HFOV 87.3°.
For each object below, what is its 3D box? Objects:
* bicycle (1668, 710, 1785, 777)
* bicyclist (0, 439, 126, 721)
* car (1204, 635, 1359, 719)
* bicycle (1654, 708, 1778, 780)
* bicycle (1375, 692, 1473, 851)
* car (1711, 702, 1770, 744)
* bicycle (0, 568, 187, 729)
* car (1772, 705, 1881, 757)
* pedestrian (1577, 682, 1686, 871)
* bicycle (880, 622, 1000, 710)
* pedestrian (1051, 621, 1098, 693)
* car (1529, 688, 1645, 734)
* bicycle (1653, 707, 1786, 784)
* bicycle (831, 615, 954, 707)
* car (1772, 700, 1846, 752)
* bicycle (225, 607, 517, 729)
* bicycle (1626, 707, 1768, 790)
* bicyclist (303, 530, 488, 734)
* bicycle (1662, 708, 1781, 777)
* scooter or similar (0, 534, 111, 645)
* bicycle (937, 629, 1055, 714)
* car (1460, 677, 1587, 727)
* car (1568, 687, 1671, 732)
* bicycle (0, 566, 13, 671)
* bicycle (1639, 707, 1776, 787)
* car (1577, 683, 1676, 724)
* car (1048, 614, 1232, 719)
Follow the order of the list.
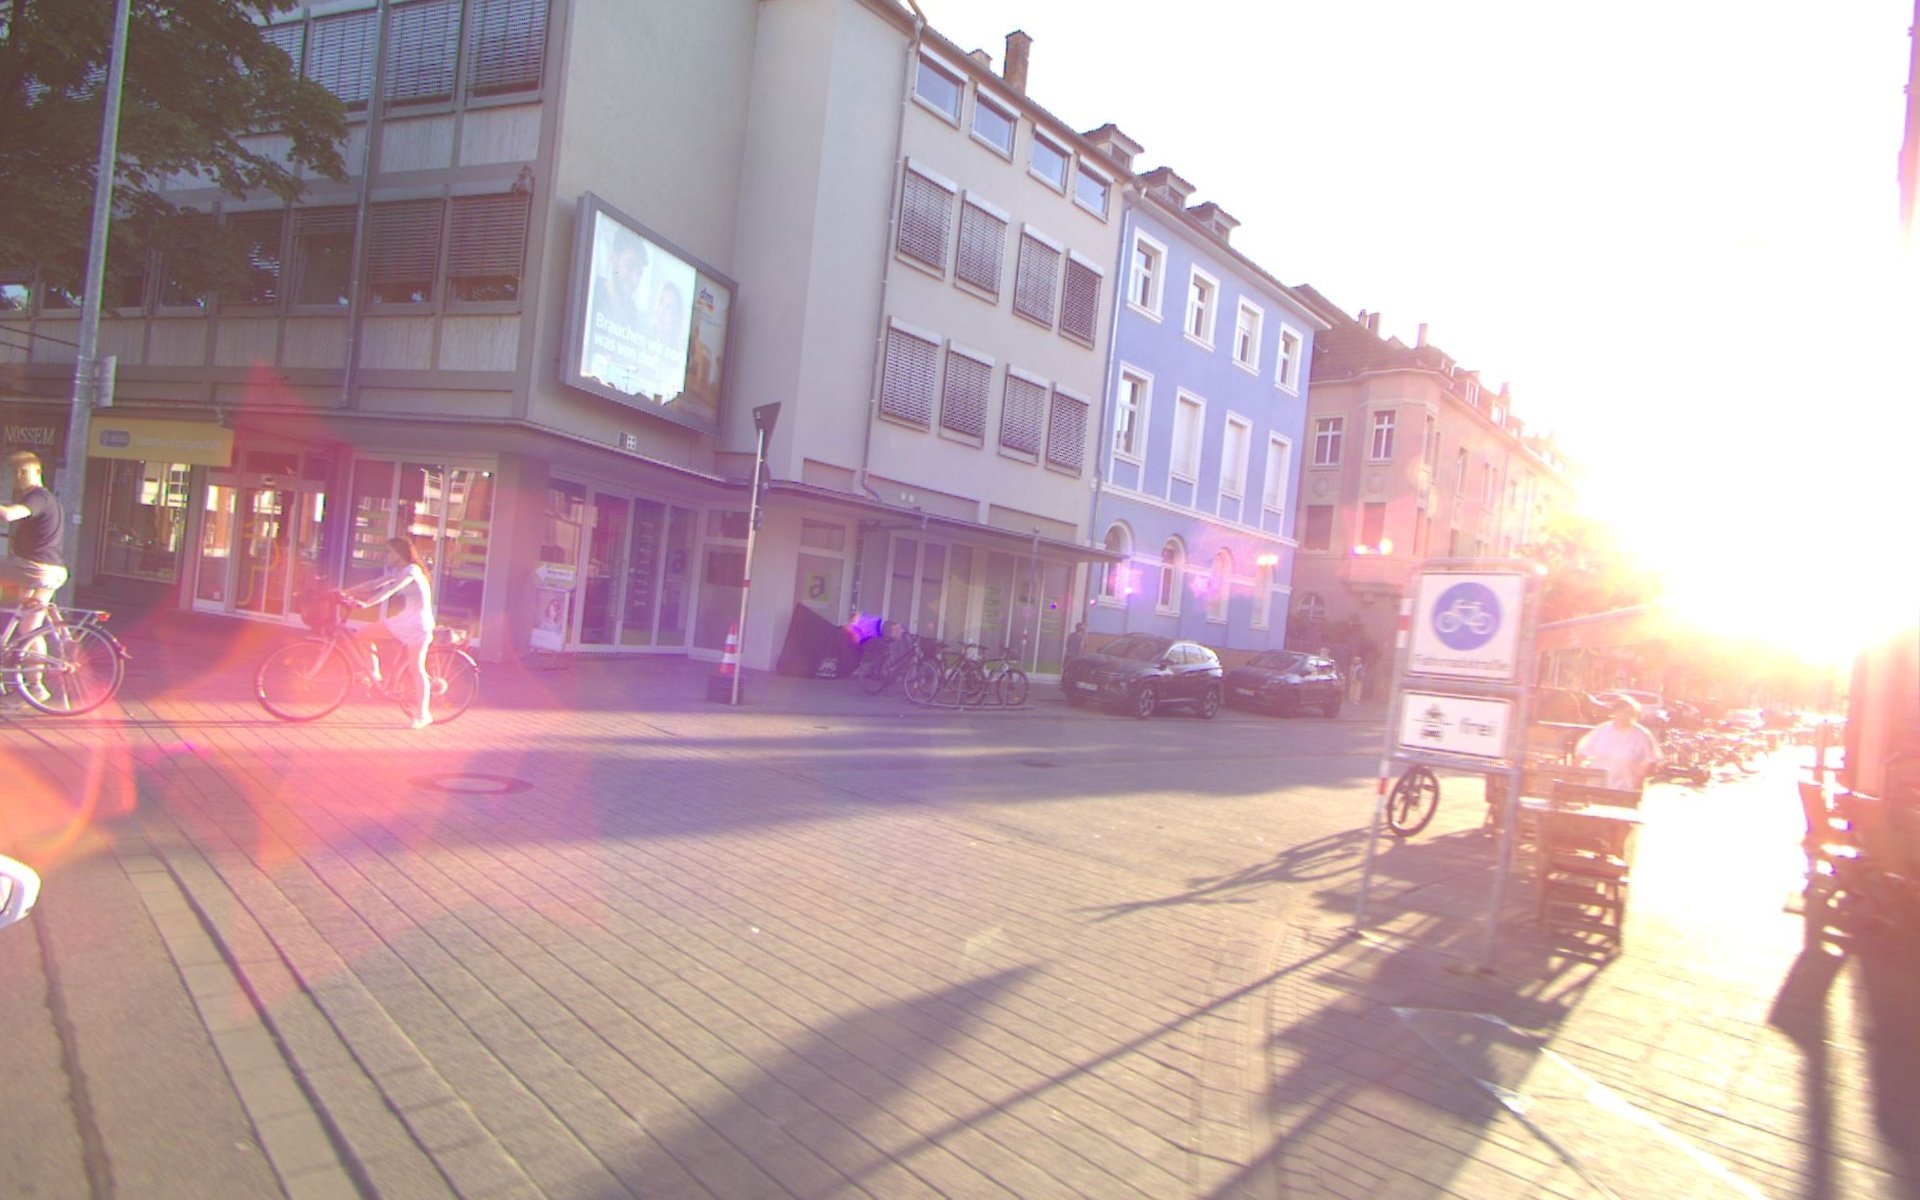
[{"bbox_3d":[18.628,3.457,24.471,2.085,1.235,0.700,7,1,44],"label":"bicycle"},{"bbox_3d":[-7.065,-0.181,7.347,1.098,1.941,0.838,6,0,-16],"label":"bicyclist"},{"bbox_3d":[8.519,2.056,26.478,4.406,1.771,1.870,7,0,-44],"label":"car"},{"bbox_3d":[17.252,3.256,22.992,2.085,1.235,0.700,7,1,44],"label":"bicycle"},{"bbox_3d":[4.635,1.637,10.117,0.691,1.303,2.112,6,-1,24],"label":"bicycle"},{"bbox_3d":[45.866,7.235,59.100,3.974,2.036,1.977,9,-3,-42],"label":"car"},{"bbox_3d":[-7.104,0.296,7.364,2.046,1.032,0.838,7,0,-17],"label":"bicycle"},{"bbox_3d":[44.366,6.693,51.571,1.988,2.037,3.953,8,-3,-43],"label":"car"},{"bbox_3d":[6.023,1.554,9.054,0.563,1.560,0.573,6,0,20],"label":"pedestrian"},{"bbox_3d":[-0.371,1.137,17.594,2.085,1.235,0.700,7,1,44],"label":"bicycle"},{"bbox_3d":[2.631,1.301,23.099,0.668,1.545,0.596,8,1,42],"label":"pedestrian"},{"bbox_3d":[27.757,4.885,44.687,3.926,1.404,2.000,6,-1,21],"label":"car"},{"bbox_3d":[16.246,3.093,21.557,2.085,1.235,0.700,7,1,44],"label":"bicycle"},{"bbox_3d":[-1.153,1.006,16.816,2.085,1.235,0.700,7,1,44],"label":"bicycle"},{"bbox_3d":[39.485,5.879,46.771,4.230,2.036,1.977,9,-3,-42],"label":"car"},{"bbox_3d":[-5.068,0.622,8.761,0.830,0.891,2.001,5,-1,44],"label":"bicycle"},{"bbox_3d":[14.515,2.897,19.862,2.085,1.235,0.700,7,1,44],"label":"bicycle"},{"bbox_3d":[-4.953,0.289,8.840,0.830,1.643,1.108,6,0,45],"label":"bicyclist"},{"bbox_3d":[18.103,3.371,23.959,2.085,1.235,0.700,7,1,44],"label":"bicycle"},{"bbox_3d":[-11.390,-0.140,12.406,1.263,1.250,0.336,7,0,-28],"label":"scooter or similar"},{"bbox_3d":[0.635,1.288,18.337,2.085,1.235,0.700,8,1,44],"label":"bicycle"},{"bbox_3d":[22.797,4.114,40.818,3.923,1.448,2.001,6,-1,7],"label":"car"},{"bbox_3d":[34.193,5.655,52.245,3.924,1.731,2.001,6,-1,17],"label":"car"},{"bbox_3d":[-9.916,0.074,9.490,1.766,0.982,0.466,6,0,13],"label":"bicycle"},{"bbox_3d":[15.334,2.992,20.676,2.085,1.235,0.700,7,1,44],"label":"bicycle"},{"bbox_3d":[36.037,5.568,54.490,3.924,1.626,2.001,6,-1,17],"label":"car"},{"bbox_3d":[3.910,1.466,21.394,1.867,1.772,3.982,10,2,41],"label":"car"}]
